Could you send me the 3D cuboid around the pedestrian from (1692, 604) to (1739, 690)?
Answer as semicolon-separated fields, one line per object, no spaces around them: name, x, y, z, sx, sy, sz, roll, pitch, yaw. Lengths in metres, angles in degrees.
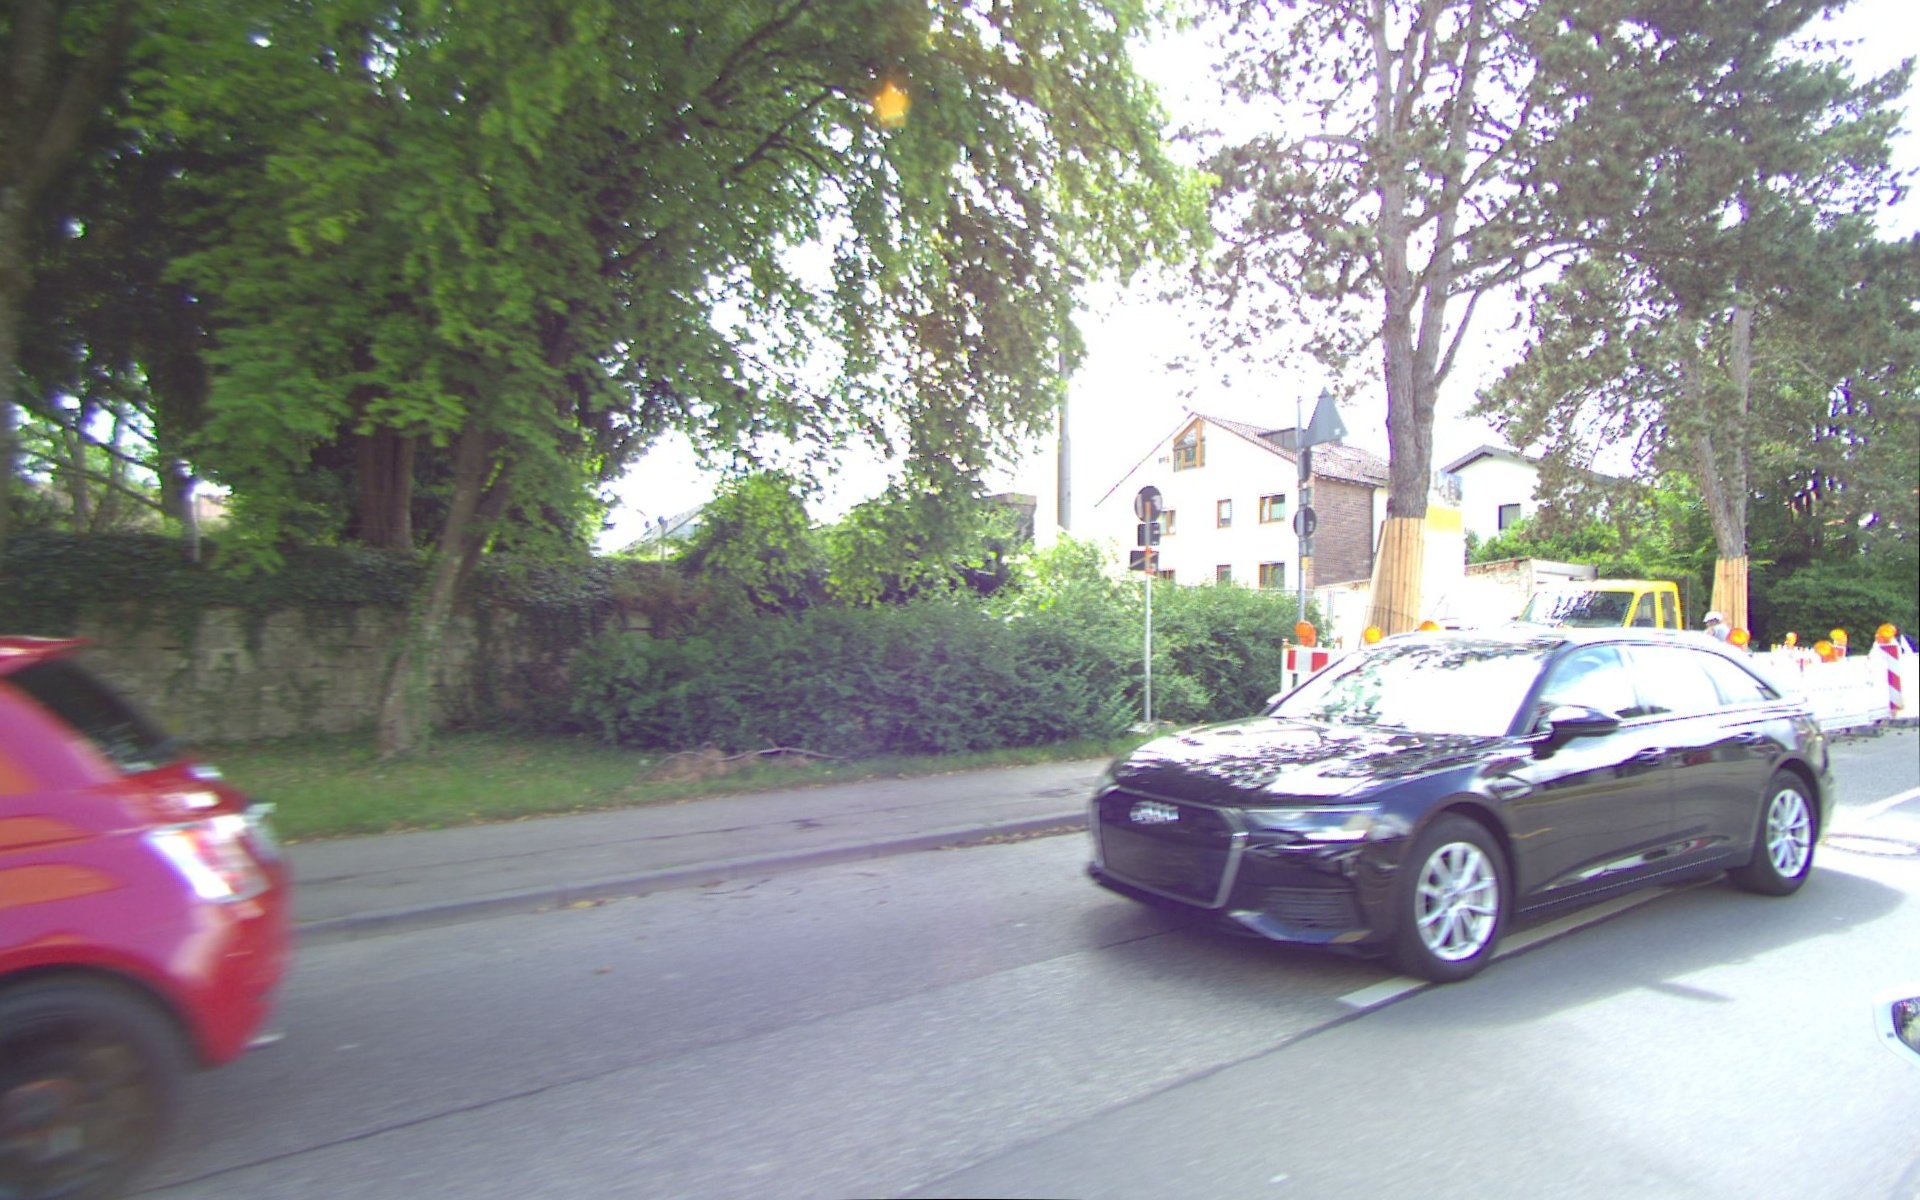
pedestrian;14.093;0.865;18.729;0.650;1.568;0.569;2;-1;-41

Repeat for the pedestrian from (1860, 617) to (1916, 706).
pedestrian;17.351;1.144;18.790;0.526;1.622;0.572;1;-1;9

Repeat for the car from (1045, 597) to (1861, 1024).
car;2.840;0.854;5.561;4.505;1.543;1.811;1;-3;-29

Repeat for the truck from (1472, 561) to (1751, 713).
truck;12.388;0.682;18.923;6.032;2.452;2.291;2;-1;-35

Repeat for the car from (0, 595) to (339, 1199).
car;-3.606;0.778;2.452;3.531;1.543;1.605;1;-3;-33

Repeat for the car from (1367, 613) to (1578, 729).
car;7.768;0.976;15.101;3.555;1.528;1.609;1;0;-41
